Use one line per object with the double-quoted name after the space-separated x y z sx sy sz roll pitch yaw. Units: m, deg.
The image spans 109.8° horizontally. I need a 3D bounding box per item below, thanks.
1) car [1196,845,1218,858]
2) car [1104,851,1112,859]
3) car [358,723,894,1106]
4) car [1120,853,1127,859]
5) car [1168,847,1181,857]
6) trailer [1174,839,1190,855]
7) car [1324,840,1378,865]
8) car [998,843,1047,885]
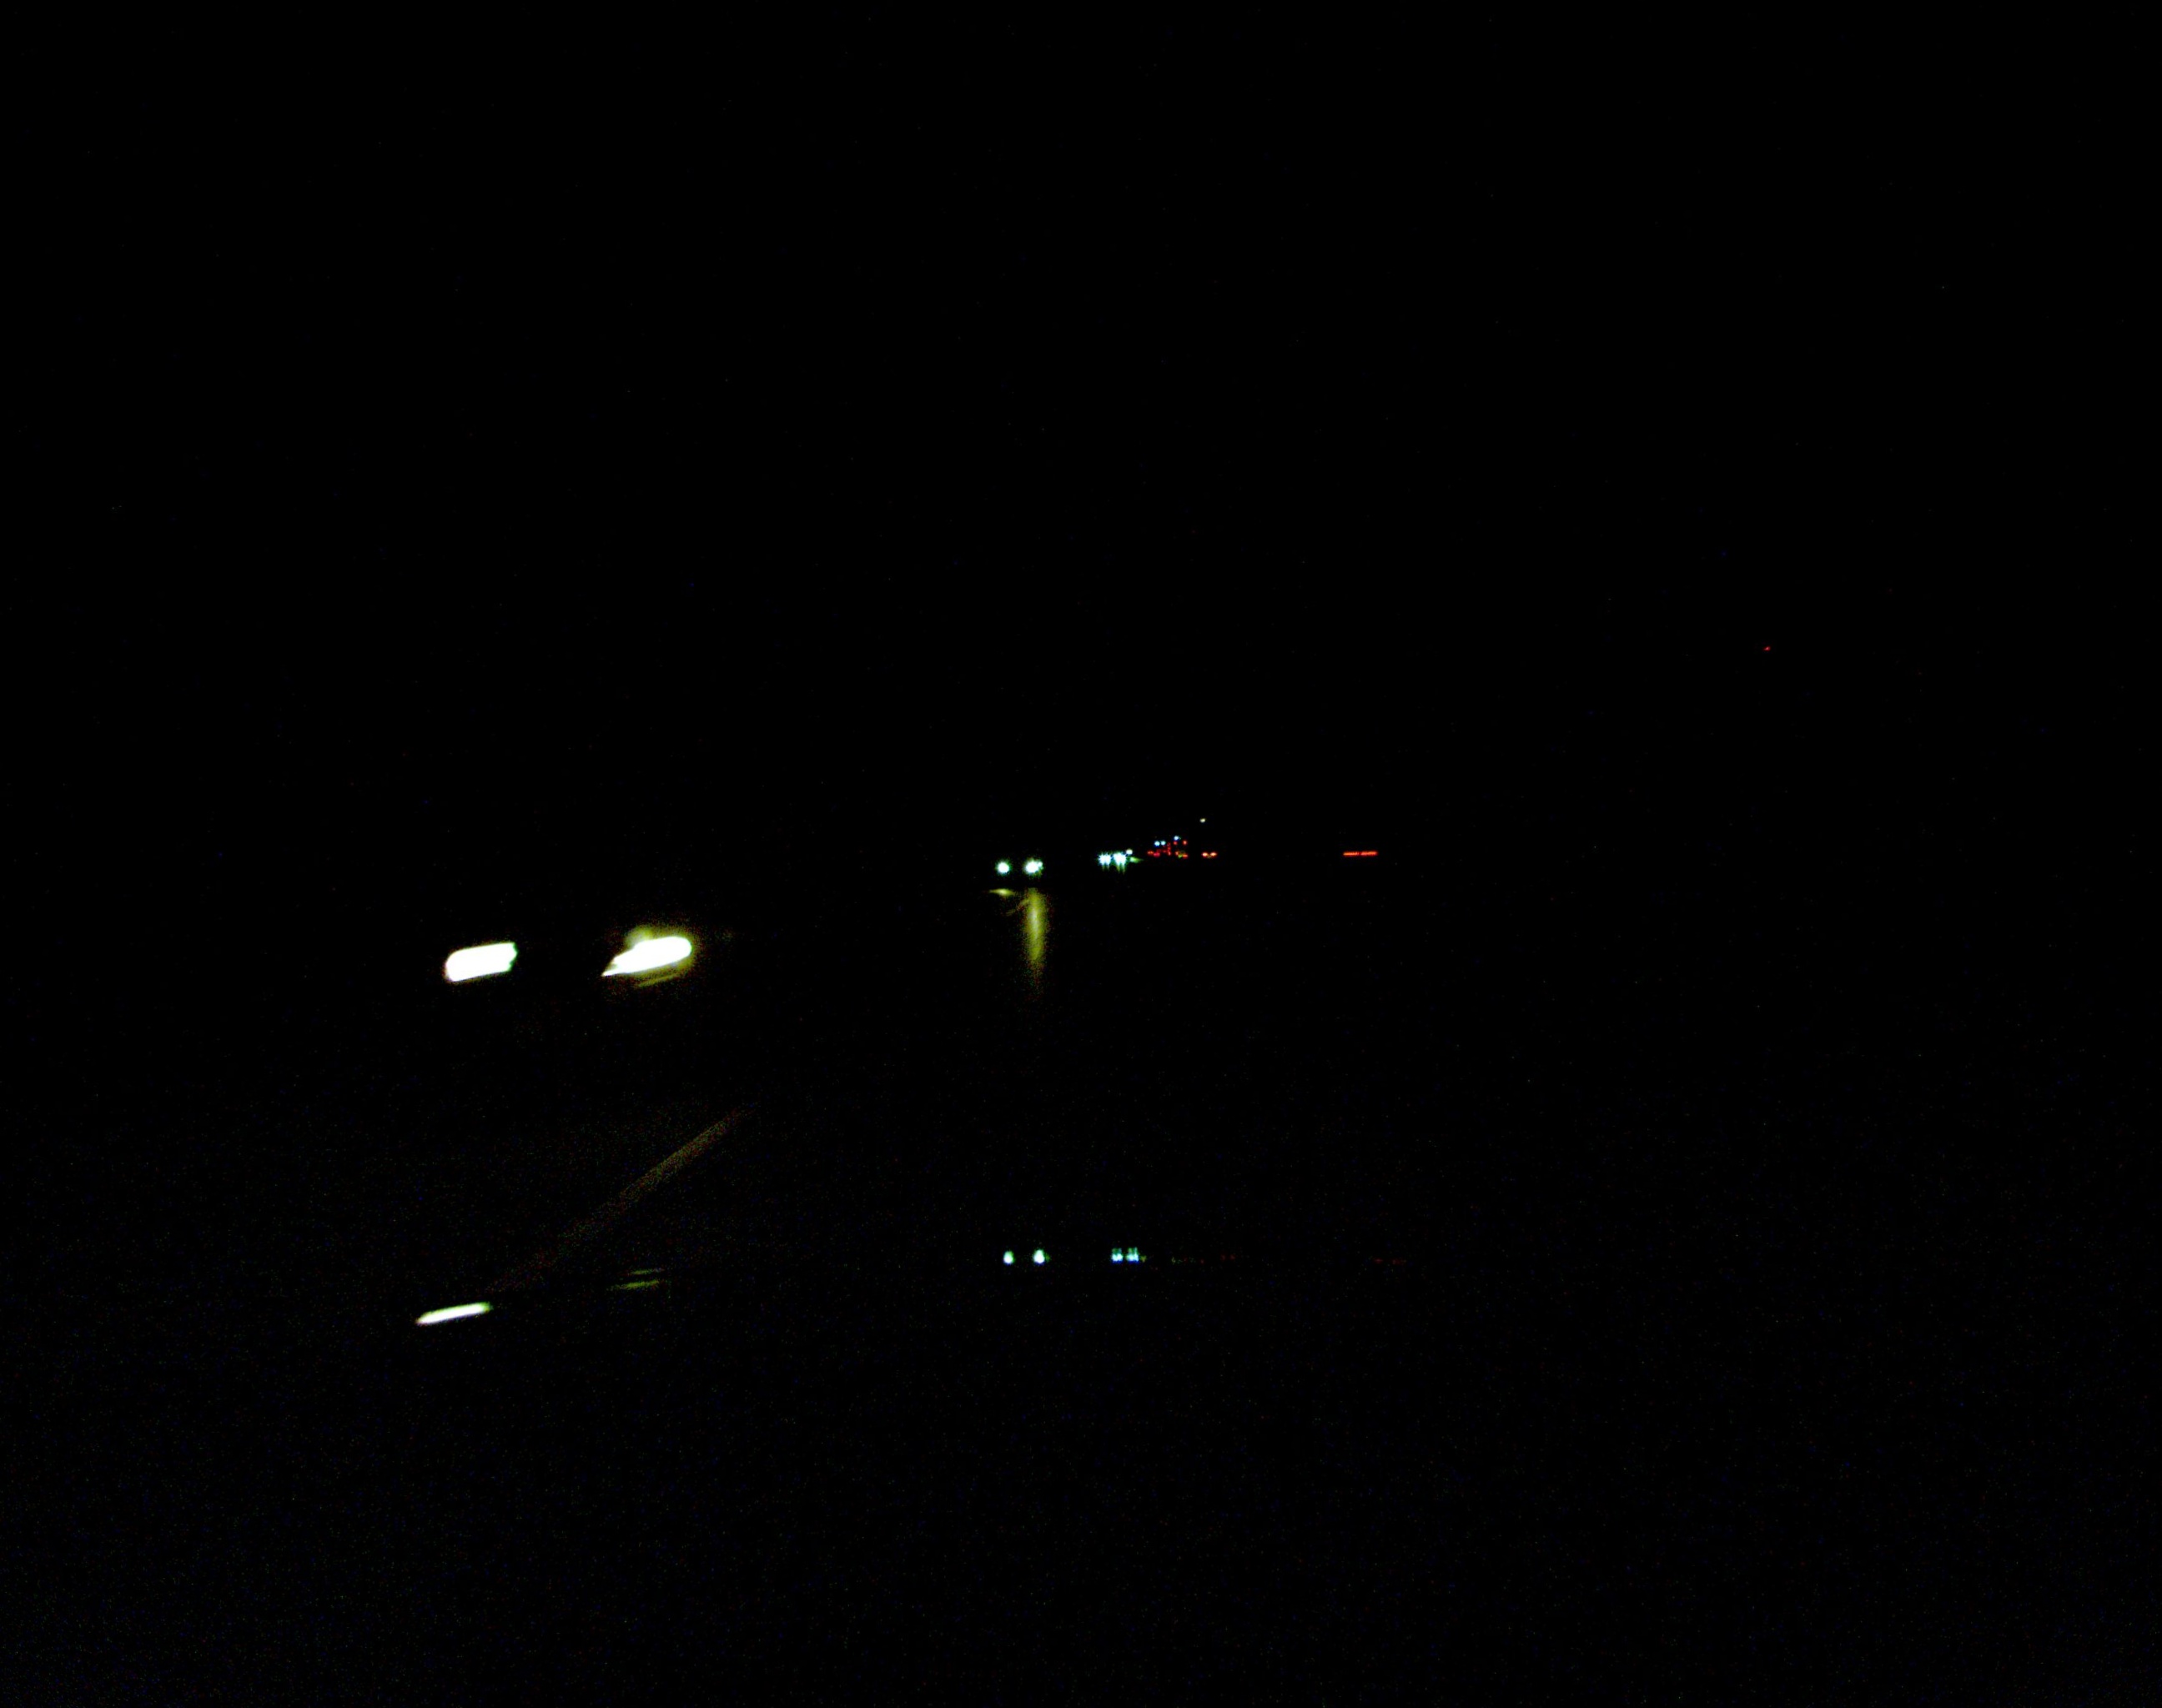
17.987 -0.381 108.833 2.250 1.659 4.889 -2 0 0 "car"
7.155 0.240 204.830 1.998 1.762 3.999 -2 2 1 "car"
-3.905 0.415 8.195 2.037 2.631 5.725 -2 1 2 "car"
12.785 0.574 228.888 1.998 1.735 3.999 -2 2 1 "car"
20.665 -0.362 168.171 2.249 2.089 5.715 -2 0 2 "car"
26.803 -1.804 201.771 2.860 3.957 13.887 -2 0 2 "trailer"
20.058 -0.114 56.612 2.250 1.659 4.887 -2 0 0 "car"
-3.035 0.481 40.645 2.121 1.989 5.663 -2 0 0 "car"
